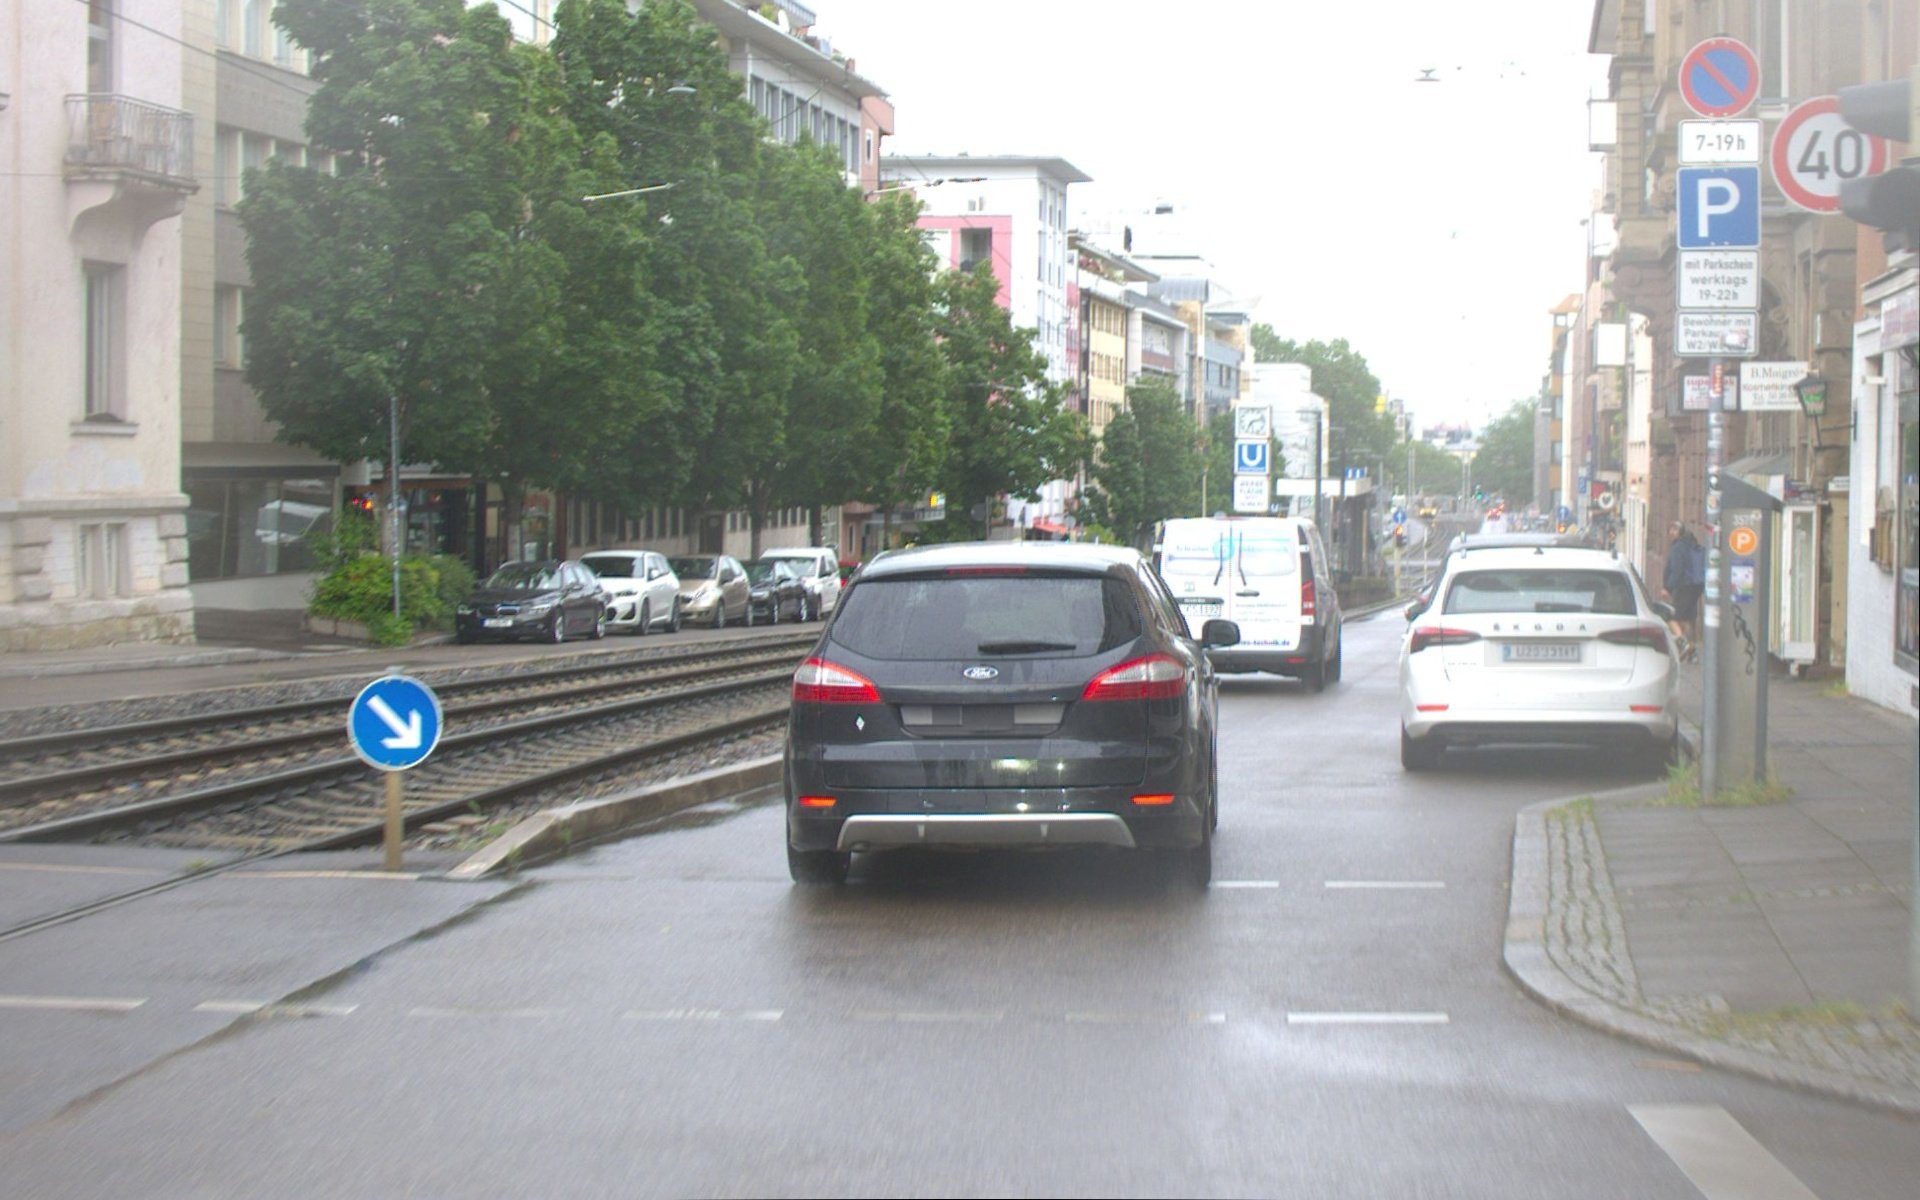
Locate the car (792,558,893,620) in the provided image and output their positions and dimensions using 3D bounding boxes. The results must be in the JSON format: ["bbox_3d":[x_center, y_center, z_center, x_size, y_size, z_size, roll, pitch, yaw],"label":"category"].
[{"bbox_3d":[-3.046,-0.269,90.051,1.856,1.522,4.044,2,0,9],"label":"car"}]

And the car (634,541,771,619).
[{"bbox_3d":[-5.441,-0.408,73.156,1.856,1.543,4.429,2,0,9],"label":"car"}]

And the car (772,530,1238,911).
[{"bbox_3d":[0.279,0.487,15.609,1.843,1.502,3.999,0,0,3],"label":"car"}]

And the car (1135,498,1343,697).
[{"bbox_3d":[3.165,-0.079,38.243,1.989,2.053,4.644,1,1,8],"label":"car"}]

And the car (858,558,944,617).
[{"bbox_3d":[-1.632,-0.336,96.940,1.668,1.553,4.044,2,0,9],"label":"car"}]

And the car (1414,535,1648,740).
[{"bbox_3d":[5.022,0.317,30.237,1.846,1.627,4.584,1,0,10],"label":"car"}]

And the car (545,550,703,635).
[{"bbox_3d":[-6.472,-0.123,66.775,1.856,1.543,4.718,2,0,9],"label":"car"}]

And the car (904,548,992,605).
[{"bbox_3d":[-0.346,-0.707,106.451,1.856,1.631,4.933,2,0,9],"label":"car"}]

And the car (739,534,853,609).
[{"bbox_3d":[-3.974,-0.680,84.170,1.856,1.695,4.429,2,0,9],"label":"car"}]

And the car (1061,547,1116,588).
[{"bbox_3d":[5.617,-1.406,149.795,1.856,1.631,4.044,2,0,9],"label":"car"}]

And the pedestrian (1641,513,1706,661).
[{"bbox_3d":[8.936,-0.170,43.068,0.703,1.813,0.961,-2,2,9],"label":"pedestrian"}]

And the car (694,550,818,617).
[{"bbox_3d":[-4.610,-0.358,78.146,1.856,1.413,4.429,-1,-1,9],"label":"car"}]

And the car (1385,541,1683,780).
[{"bbox_3d":[3.891,0.384,23.317,1.802,1.450,4.584,0,0,10],"label":"car"}]

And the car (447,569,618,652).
[{"bbox_3d":[-7.498,0.212,60.759,1.694,1.373,4.718,2,-1,9],"label":"car"}]
